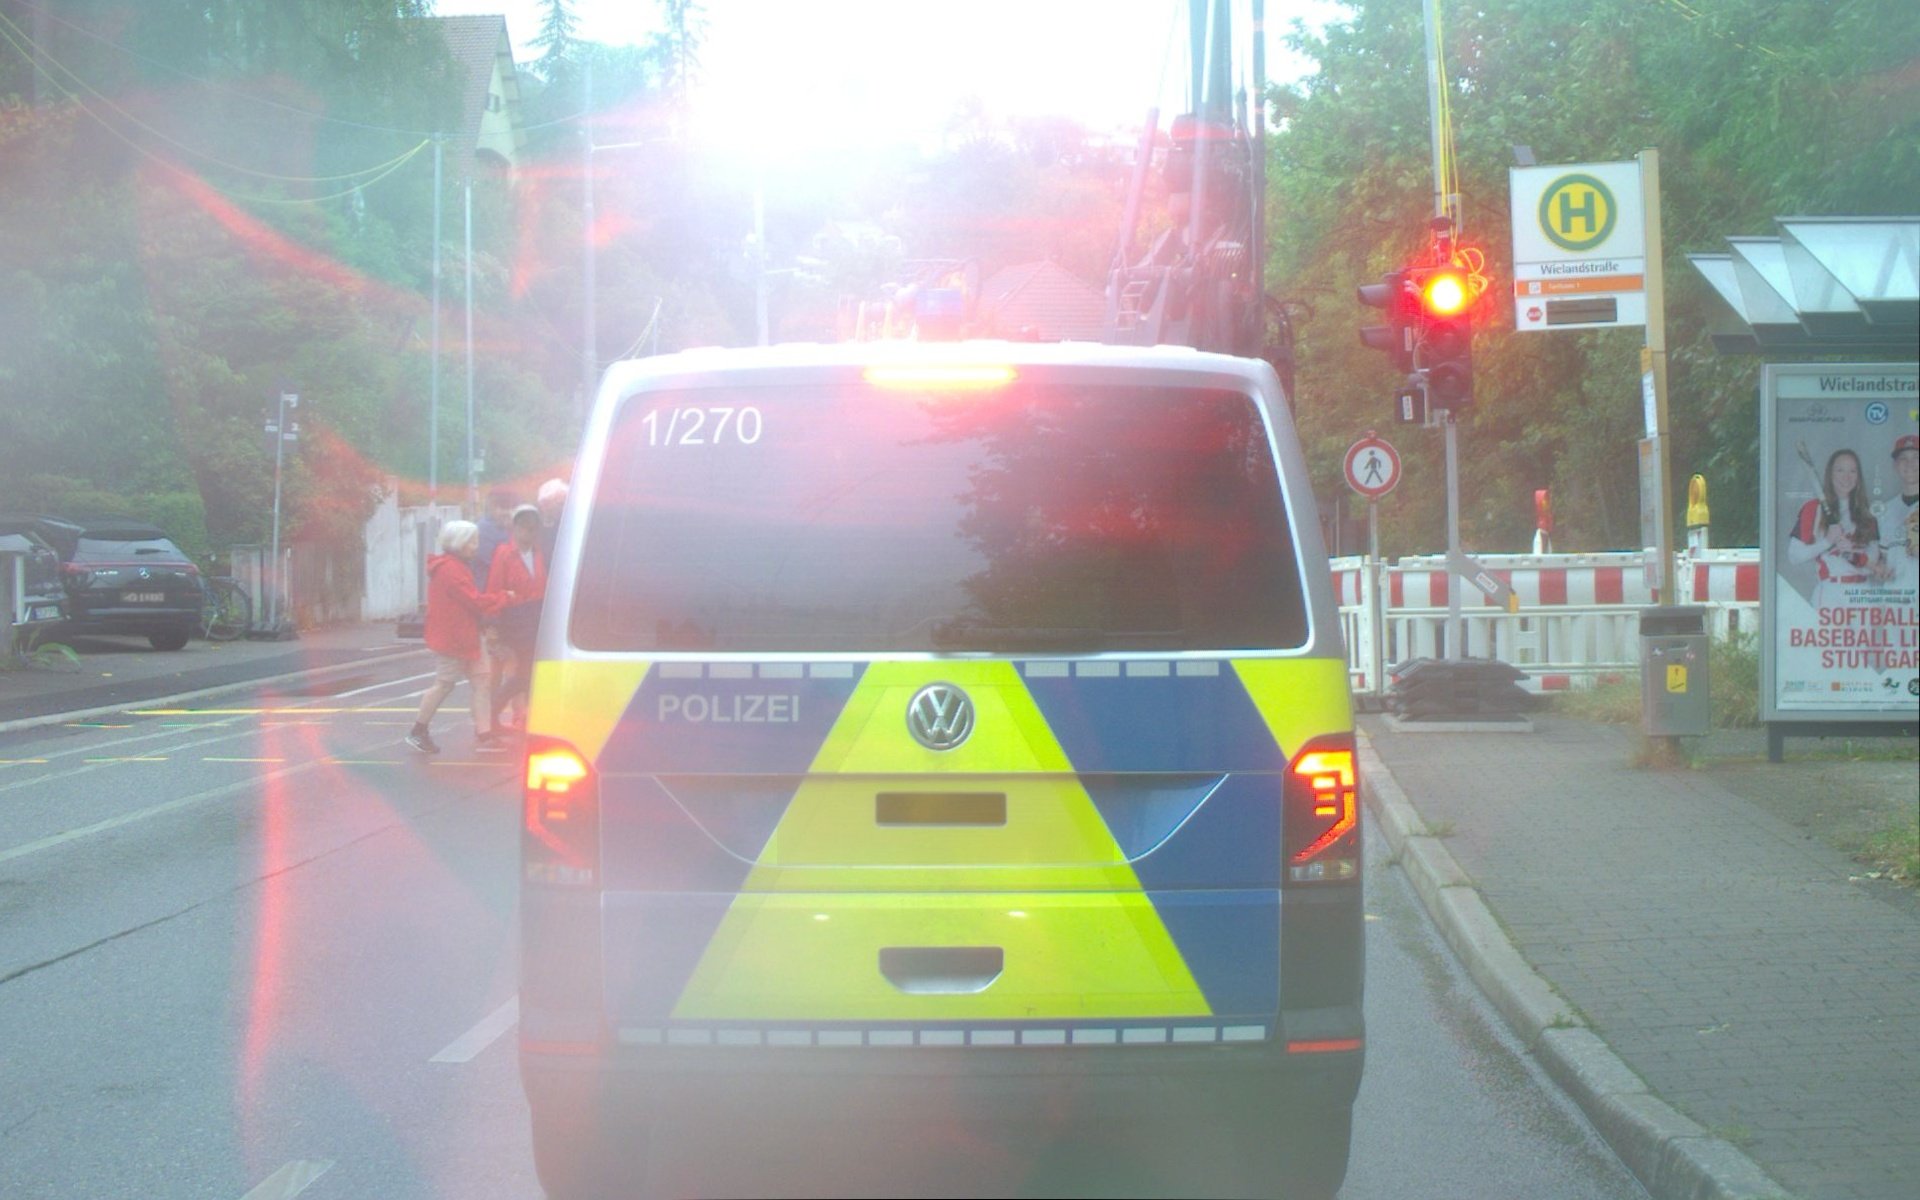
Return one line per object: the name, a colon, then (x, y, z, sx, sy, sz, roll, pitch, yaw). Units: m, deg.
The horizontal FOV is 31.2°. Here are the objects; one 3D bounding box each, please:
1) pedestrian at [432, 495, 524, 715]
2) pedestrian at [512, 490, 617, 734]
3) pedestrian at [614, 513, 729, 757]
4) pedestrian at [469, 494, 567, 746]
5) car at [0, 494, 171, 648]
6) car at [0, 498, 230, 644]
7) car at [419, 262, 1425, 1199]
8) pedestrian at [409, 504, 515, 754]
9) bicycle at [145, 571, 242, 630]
pedestrian: (-3.340, 0.038, 23.833, 0.525, 1.502, 0.429, 1, -1, 2)
pedestrian: (-2.826, 0.090, 24.605, 0.626, 1.709, 0.593, 1, -1, 2)
pedestrian: (-1.833, 0.224, 21.903, 0.626, 1.517, 0.593, 1, -1, 2)
pedestrian: (-2.962, 0.136, 23.043, 0.549, 1.662, 0.414, 1, -1, 2)
car: (-10.284, -0.307, 34.964, 3.989, 1.481, 1.759, 1, -1, 11)
car: (-10.124, -0.318, 37.113, 3.989, 1.481, 1.759, 1, -1, 11)
car: (-0.076, 0.281, 9.061, 1.993, 2.007, 4.402, 0, 1, 0)
pedestrian: (-3.204, 0.188, 22.135, 0.563, 1.577, 0.468, 1, -1, 2)
bicycle: (-8.936, 0.003, 40.089, 1.054, 0.660, 0.320, 1, -1, 10)
